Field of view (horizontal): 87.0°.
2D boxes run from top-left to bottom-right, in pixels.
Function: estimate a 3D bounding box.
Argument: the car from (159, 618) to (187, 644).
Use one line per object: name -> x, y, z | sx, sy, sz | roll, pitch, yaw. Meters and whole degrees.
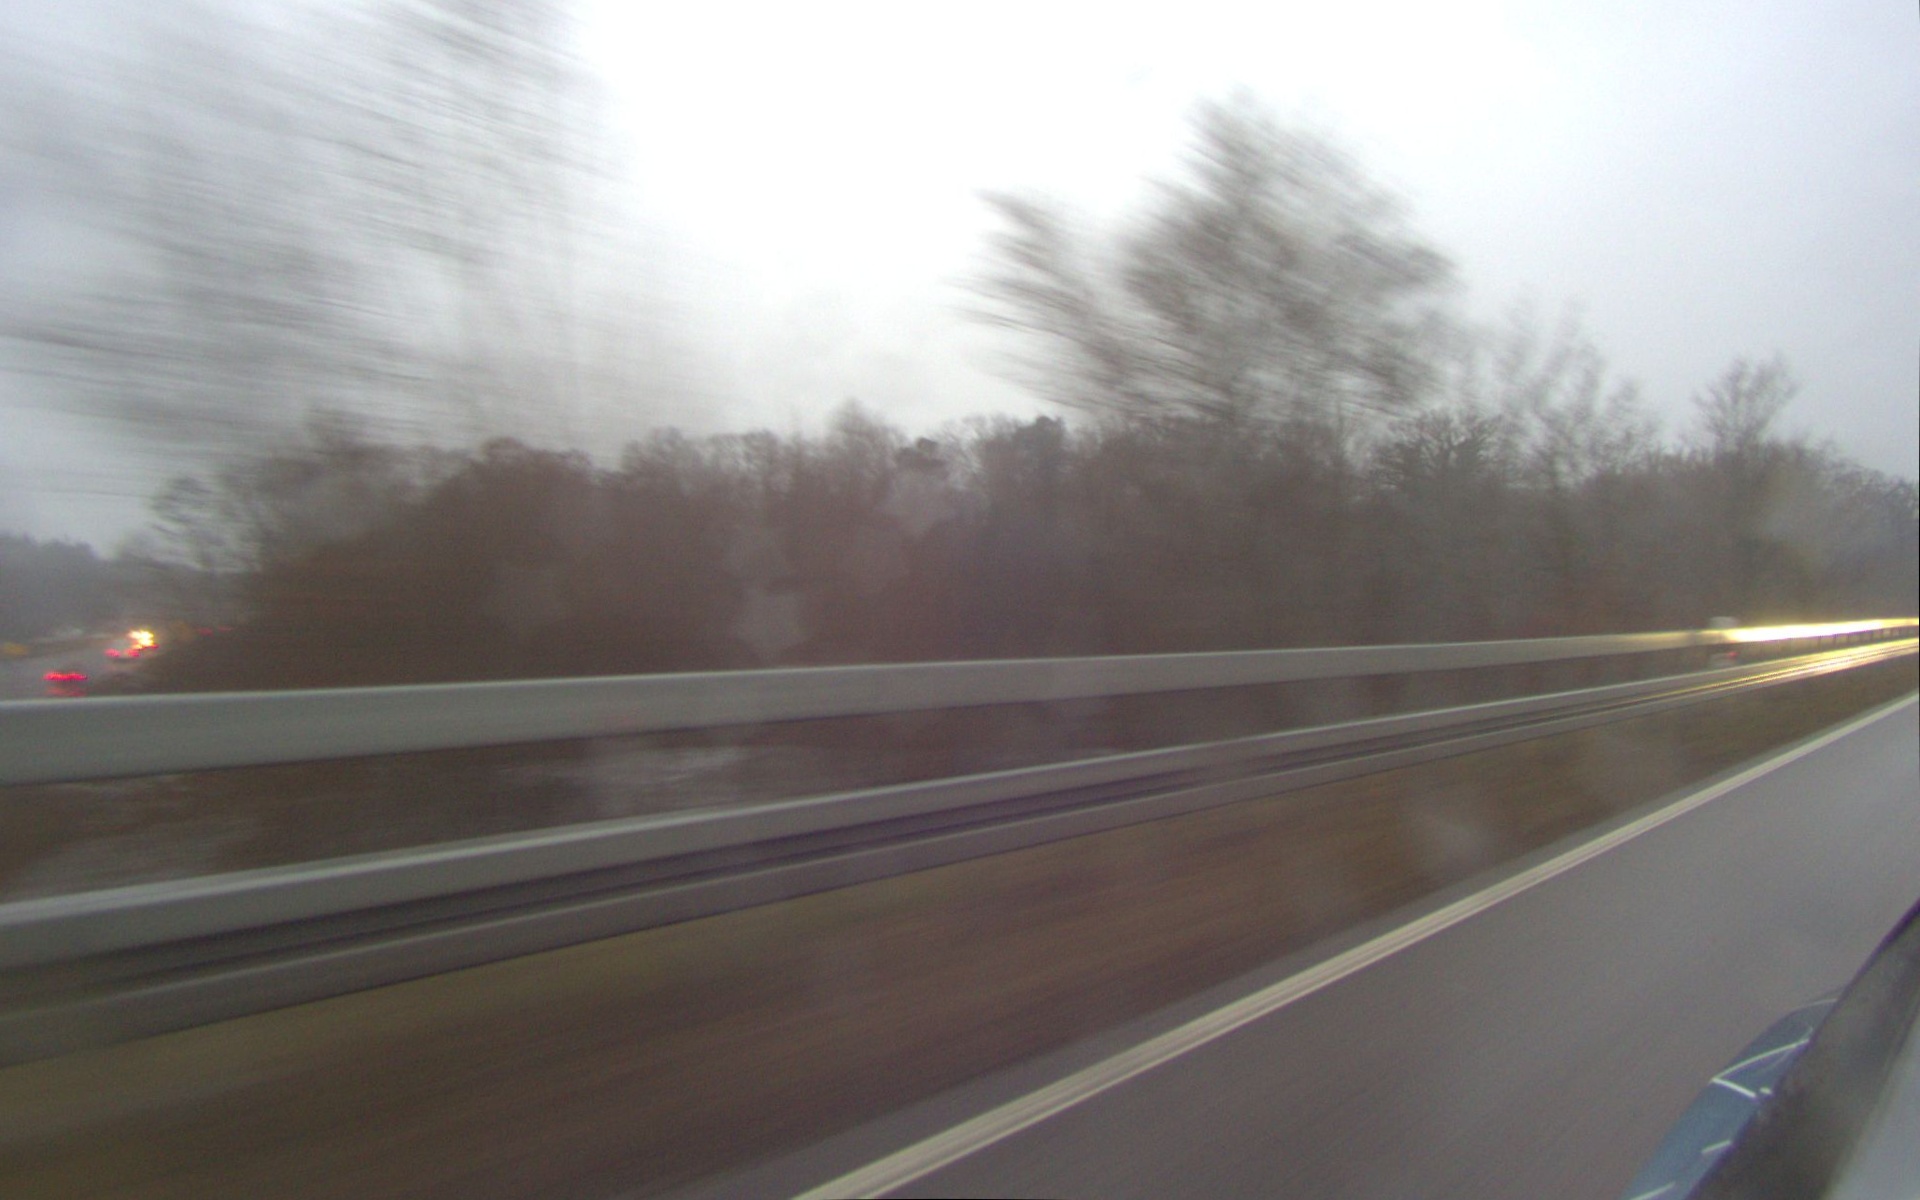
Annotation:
car -> -114.864, 4.478, 147.780 | 2.497, 3.425, 6.666 | 0, 1, -31
